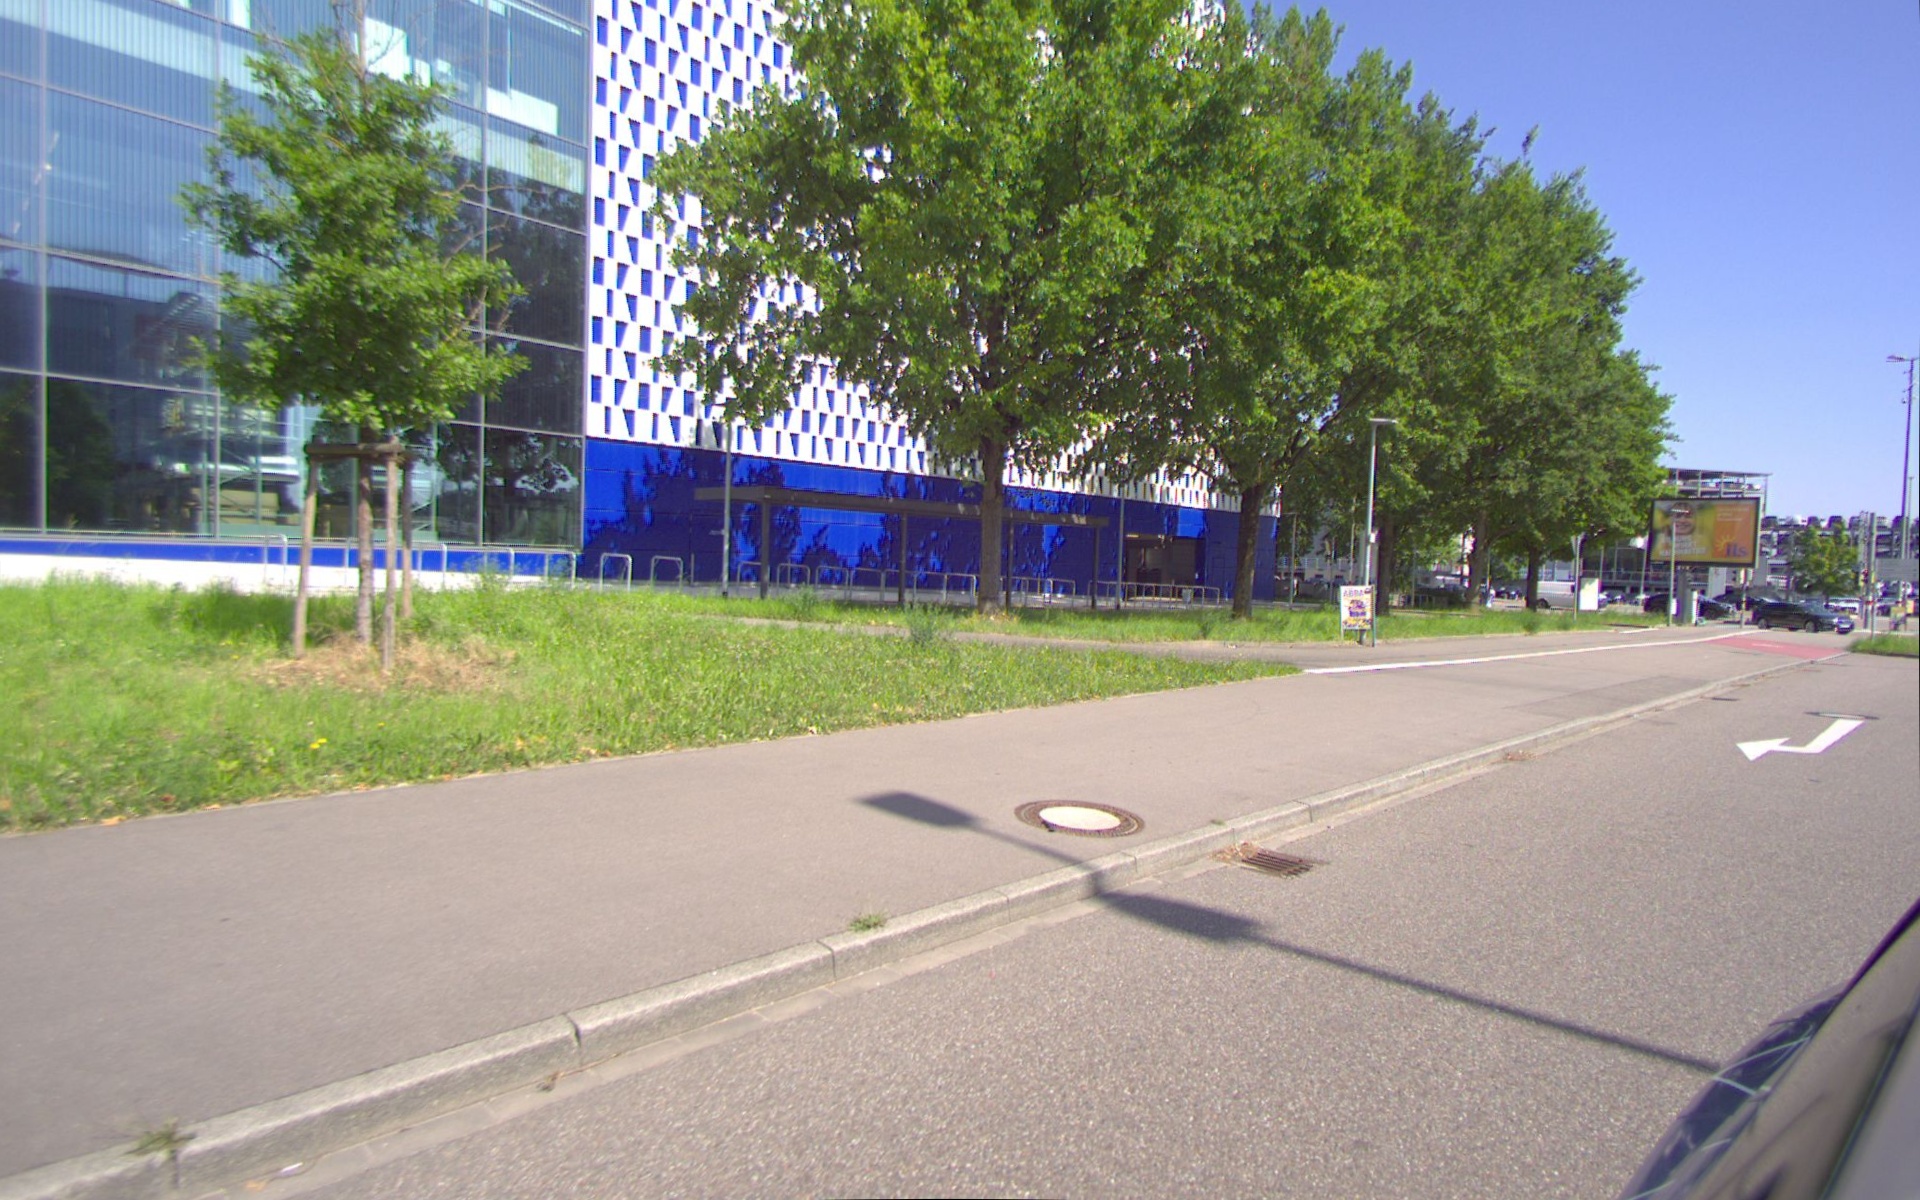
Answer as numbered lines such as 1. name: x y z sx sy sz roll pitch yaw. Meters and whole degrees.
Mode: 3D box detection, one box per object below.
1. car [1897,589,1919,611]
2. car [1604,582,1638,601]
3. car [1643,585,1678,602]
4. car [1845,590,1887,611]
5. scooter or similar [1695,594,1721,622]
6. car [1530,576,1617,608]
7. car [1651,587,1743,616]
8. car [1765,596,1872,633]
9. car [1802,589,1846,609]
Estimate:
1. car: 75.195 0.054 77.803 1.947 1.606 4.472 0 3 -44
2. car: 57.470 -0.712 87.995 1.881 1.565 3.830 3 2 42
3. car: 59.866 -0.547 86.455 1.997 1.439 4.054 2 1 40
4. car: 69.337 0.020 77.425 3.930 1.478 1.886 -1 3 -41
5. scooter or similar: 32.277 0.339 43.670 1.160 1.181 0.403 -1 2 -29
6. car: 43.310 -0.591 71.527 4.984 2.032 1.714 4 4 43
7. car: 46.236 0.061 63.539 4.488 1.647 1.689 2 3 43
8. car: 42.223 0.687 49.906 1.740 1.482 4.237 1 3 4
9. car: 67.493 -0.067 79.038 3.930 1.478 1.998 0 2 -41
